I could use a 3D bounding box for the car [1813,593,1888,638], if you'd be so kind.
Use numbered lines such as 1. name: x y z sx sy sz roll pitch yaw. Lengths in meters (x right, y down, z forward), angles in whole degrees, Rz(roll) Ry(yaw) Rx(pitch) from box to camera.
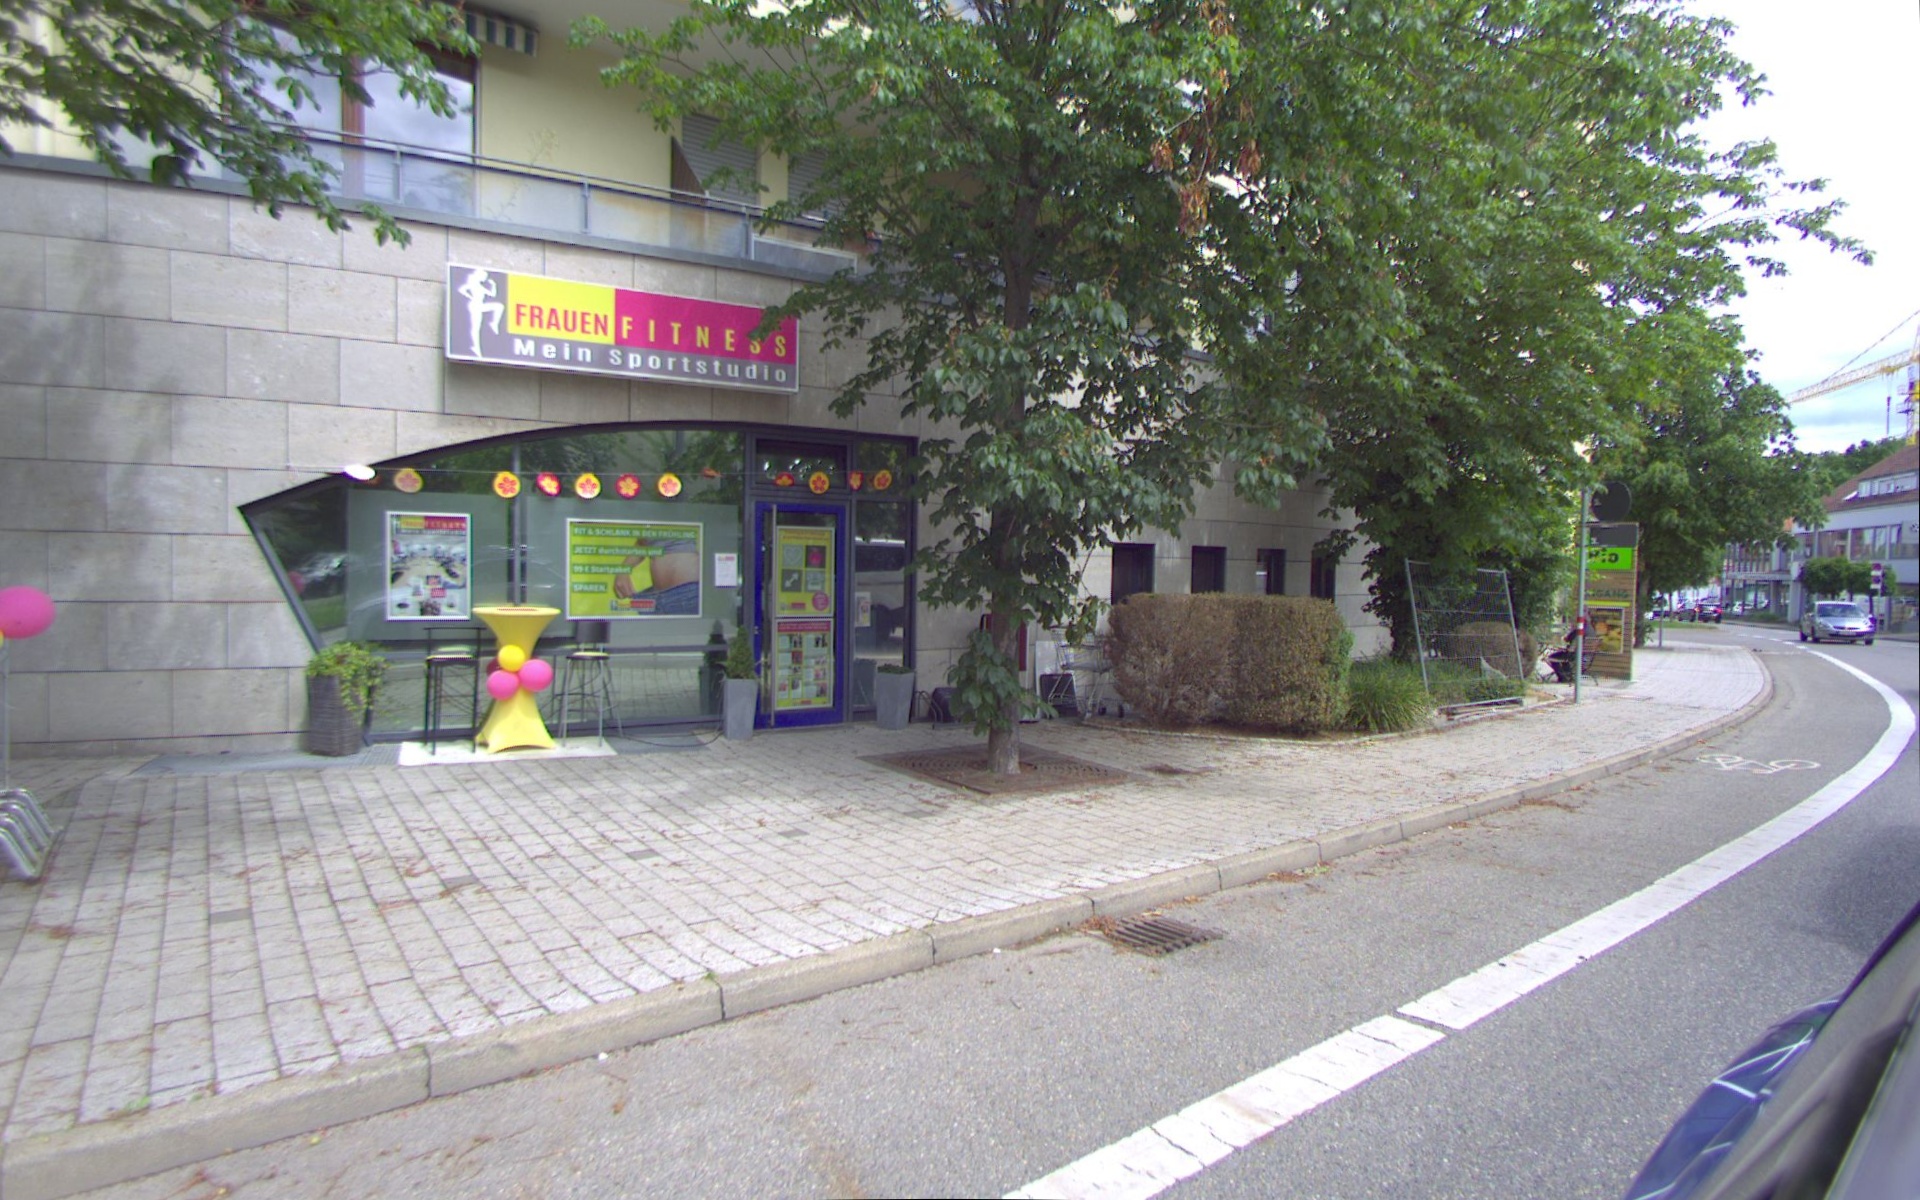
1. car: 32.095 0.535 36.569 1.684 1.505 3.947 0 0 36

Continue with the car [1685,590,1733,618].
1. car: 52.445 0.246 70.925 1.722 1.874 3.970 2 2 23

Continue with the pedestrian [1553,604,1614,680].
1. pedestrian: 11.365 0.747 18.443 0.741 1.317 0.730 0 2 -41
